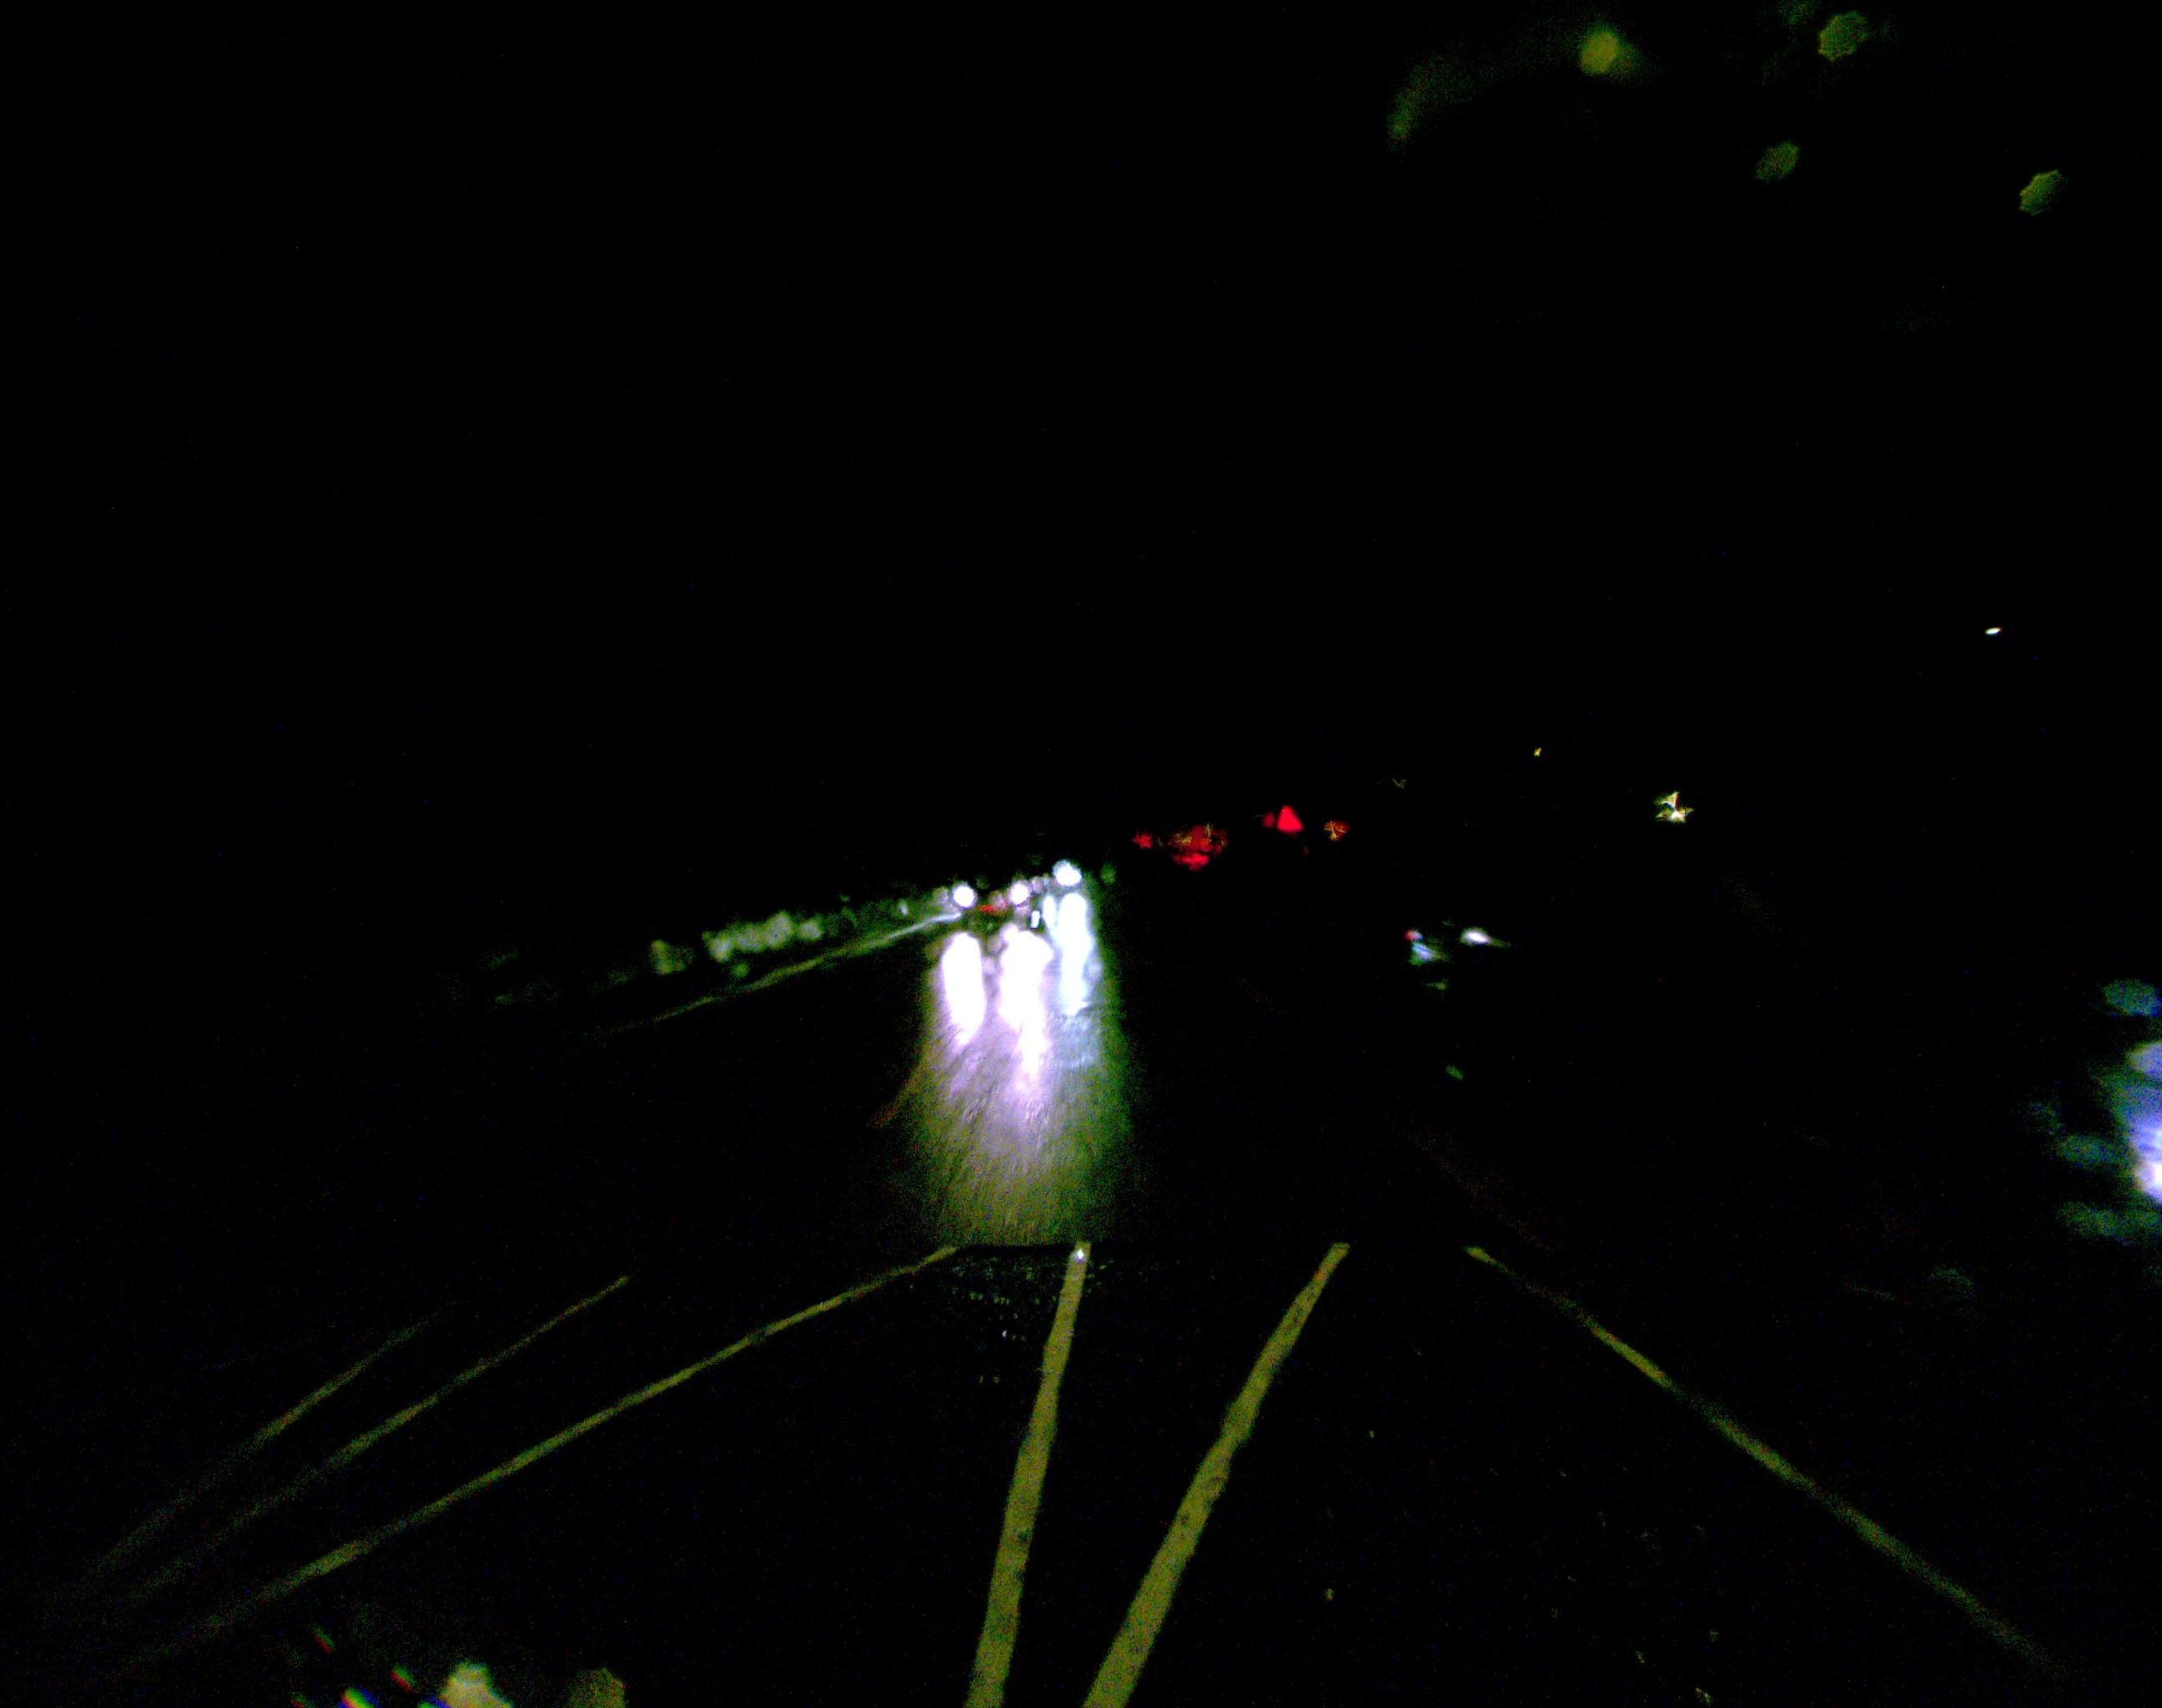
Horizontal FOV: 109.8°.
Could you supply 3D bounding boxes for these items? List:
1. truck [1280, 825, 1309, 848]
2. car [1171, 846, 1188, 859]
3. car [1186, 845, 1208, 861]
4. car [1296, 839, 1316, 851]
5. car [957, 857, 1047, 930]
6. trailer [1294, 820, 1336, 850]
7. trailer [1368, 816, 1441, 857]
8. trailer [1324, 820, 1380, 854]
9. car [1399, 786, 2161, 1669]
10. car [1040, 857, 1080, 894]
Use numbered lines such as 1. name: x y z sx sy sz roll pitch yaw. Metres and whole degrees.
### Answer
1. truck: 46.120 -3.792 164.476 3.447 4.583 10.213 -6 1 4
2. car: 13.553 -0.213 104.728 1.806 1.579 4.030 -3 1 1
3. car: 12.956 -0.112 85.291 1.765 1.632 4.652 -3 0 1
4. car: 34.482 -1.294 116.465 1.790 1.684 4.219 -4 0 3
5. car: -1.985 0.957 20.400 1.790 1.684 4.219 -2 0 2
6. trailer: 45.154 -3.668 147.369 3.980 4.984 14.836 -6 1 4
7. trailer: 41.957 -2.320 99.367 3.980 4.583 14.248 -6 1 4
8. trailer: 42.989 -2.736 121.363 3.980 4.583 15.515 -6 1 4
9. car: 3.121 0.723 3.263 1.788 1.771 4.437 -2 0 3
10. car: -0.998 1.024 38.286 1.788 1.638 4.436 -3 0 0
